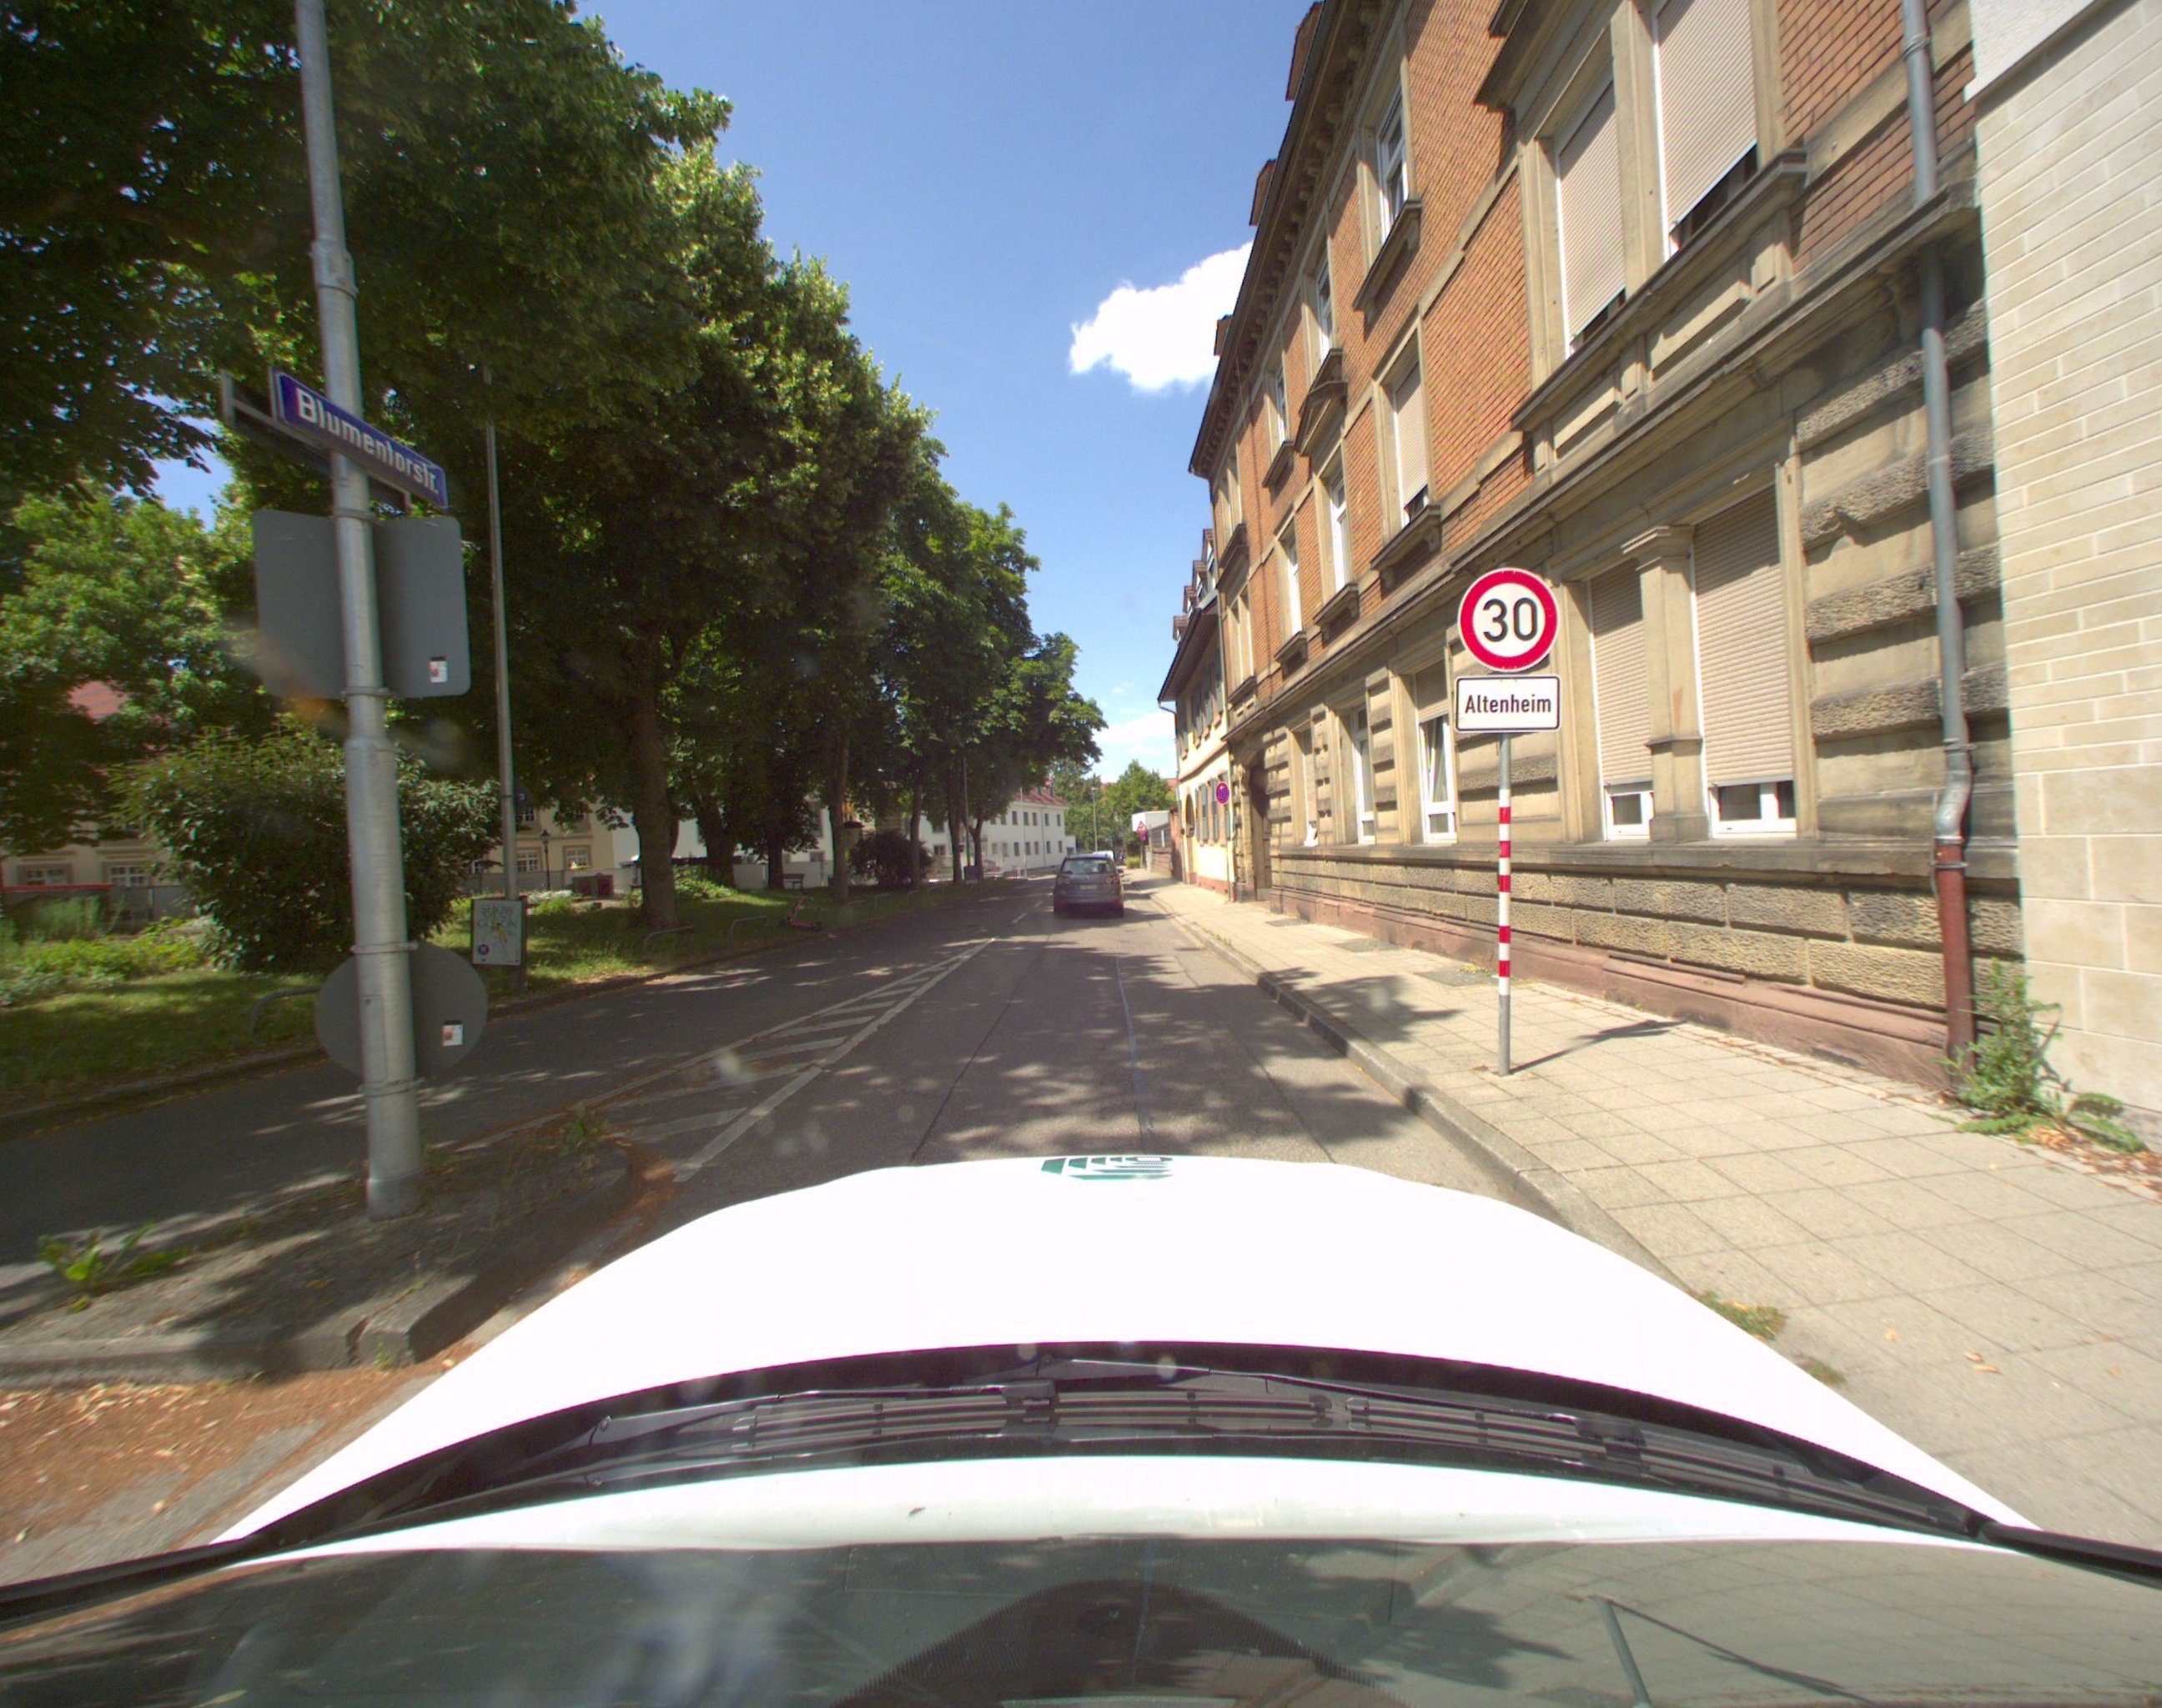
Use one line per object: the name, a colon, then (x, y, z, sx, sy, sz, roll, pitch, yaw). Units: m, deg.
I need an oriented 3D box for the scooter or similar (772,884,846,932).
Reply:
scooter or similar: (-6.737, 1.327, 20.284, 1.268, 0.992, 1.451, 5, -1, -2)

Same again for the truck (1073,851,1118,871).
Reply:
truck: (1.597, 0.752, 91.503, 4.788, 2.013, 2.141, -3, 0, -6)

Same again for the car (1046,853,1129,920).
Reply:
car: (0.275, 0.770, 21.238, 1.895, 1.534, 4.247, -1, 0, 3)

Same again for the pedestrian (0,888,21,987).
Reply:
pedestrian: (-14.254, 1.104, 10.079, 0.910, 1.252, 1.138, -3, 1, -26)

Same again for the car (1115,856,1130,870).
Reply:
car: (4.870, 1.019, 96.325, 1.641, 1.574, 3.640, -2, 0, 1)
